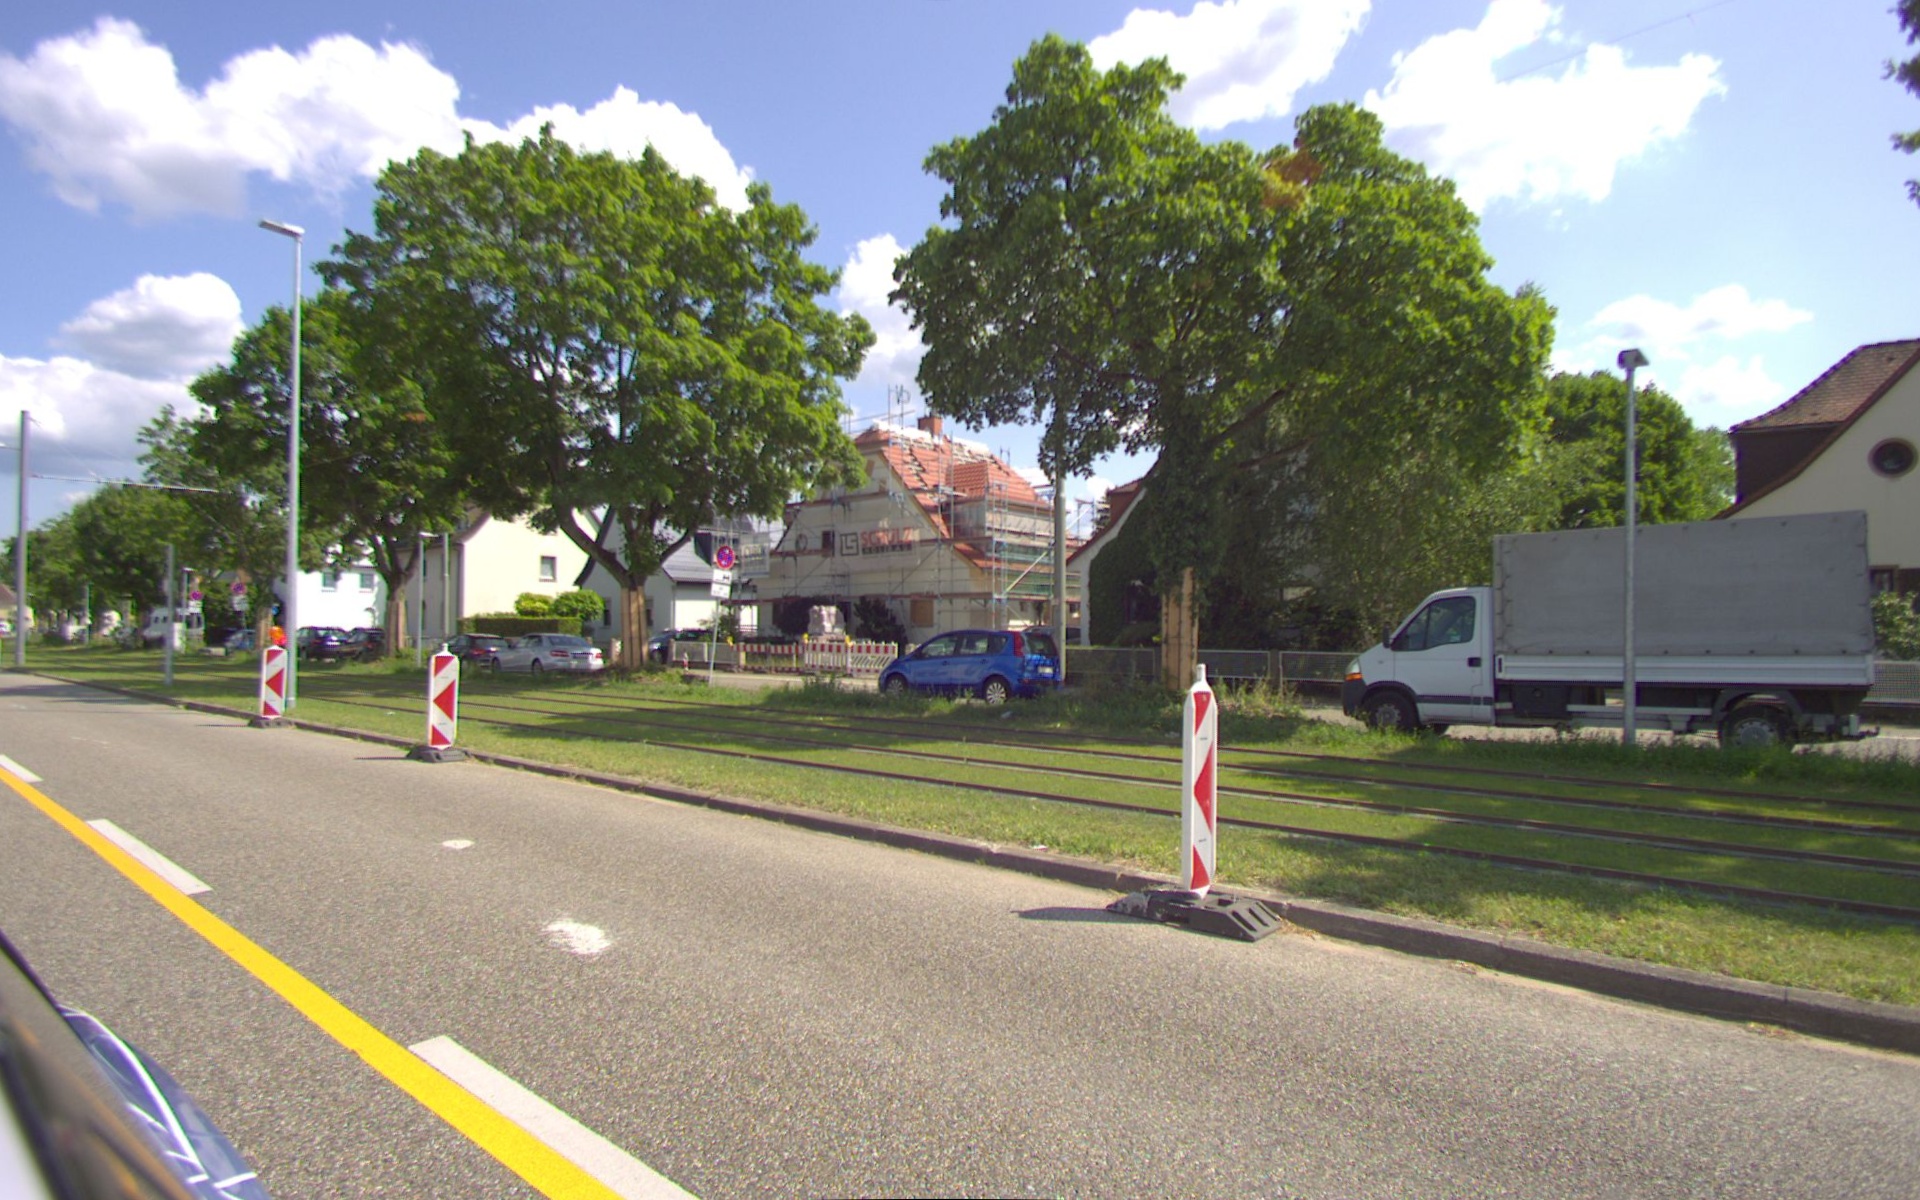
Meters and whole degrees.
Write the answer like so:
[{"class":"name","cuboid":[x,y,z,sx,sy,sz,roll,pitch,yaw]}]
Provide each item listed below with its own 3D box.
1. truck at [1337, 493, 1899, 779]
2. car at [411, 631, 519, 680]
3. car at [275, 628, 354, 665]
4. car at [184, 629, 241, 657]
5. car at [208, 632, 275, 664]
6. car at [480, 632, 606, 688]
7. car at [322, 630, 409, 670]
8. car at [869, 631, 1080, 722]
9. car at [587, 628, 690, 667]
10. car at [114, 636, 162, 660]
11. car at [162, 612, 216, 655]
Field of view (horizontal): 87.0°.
[{"class":"truck","cuboid":[8.281,0.468,13.354,5.871,3.010,1.982,-2,-3,41]},{"class":"car","cuboid":[-17.607,1.921,35.930,4.603,1.623,1.733,-2,-3,40]},{"class":"car","cuboid":[-29.595,2.105,46.330,4.603,1.623,1.733,-2,-3,40]},{"class":"car","cuboid":[-44.638,2.562,60.404,4.603,1.623,1.733,-2,-3,40]},{"class":"car","cuboid":[-37.637,2.476,52.979,4.603,1.623,1.733,-2,-3,40]},{"class":"car","cuboid":[-13.166,1.836,31.859,4.603,1.623,1.733,-2,-3,40]},{"class":"car","cuboid":[-25.176,2.080,42.826,4.603,1.623,1.733,-2,-3,40]},{"class":"car","cuboid":[0.221,1.447,20.187,4.047,1.623,1.733,-2,-3,40]},{"class":"car","cuboid":[-14.075,2.053,44.507,1.756,1.623,3.995,-2,-3,41]},{"class":"car","cuboid":[-57.015,3.278,70.150,4.603,1.623,1.733,-2,-3,40]},{"class":"car","cuboid":[-48.808,2.114,64.040,4.603,2.636,1.733,-2,-3,40]}]
